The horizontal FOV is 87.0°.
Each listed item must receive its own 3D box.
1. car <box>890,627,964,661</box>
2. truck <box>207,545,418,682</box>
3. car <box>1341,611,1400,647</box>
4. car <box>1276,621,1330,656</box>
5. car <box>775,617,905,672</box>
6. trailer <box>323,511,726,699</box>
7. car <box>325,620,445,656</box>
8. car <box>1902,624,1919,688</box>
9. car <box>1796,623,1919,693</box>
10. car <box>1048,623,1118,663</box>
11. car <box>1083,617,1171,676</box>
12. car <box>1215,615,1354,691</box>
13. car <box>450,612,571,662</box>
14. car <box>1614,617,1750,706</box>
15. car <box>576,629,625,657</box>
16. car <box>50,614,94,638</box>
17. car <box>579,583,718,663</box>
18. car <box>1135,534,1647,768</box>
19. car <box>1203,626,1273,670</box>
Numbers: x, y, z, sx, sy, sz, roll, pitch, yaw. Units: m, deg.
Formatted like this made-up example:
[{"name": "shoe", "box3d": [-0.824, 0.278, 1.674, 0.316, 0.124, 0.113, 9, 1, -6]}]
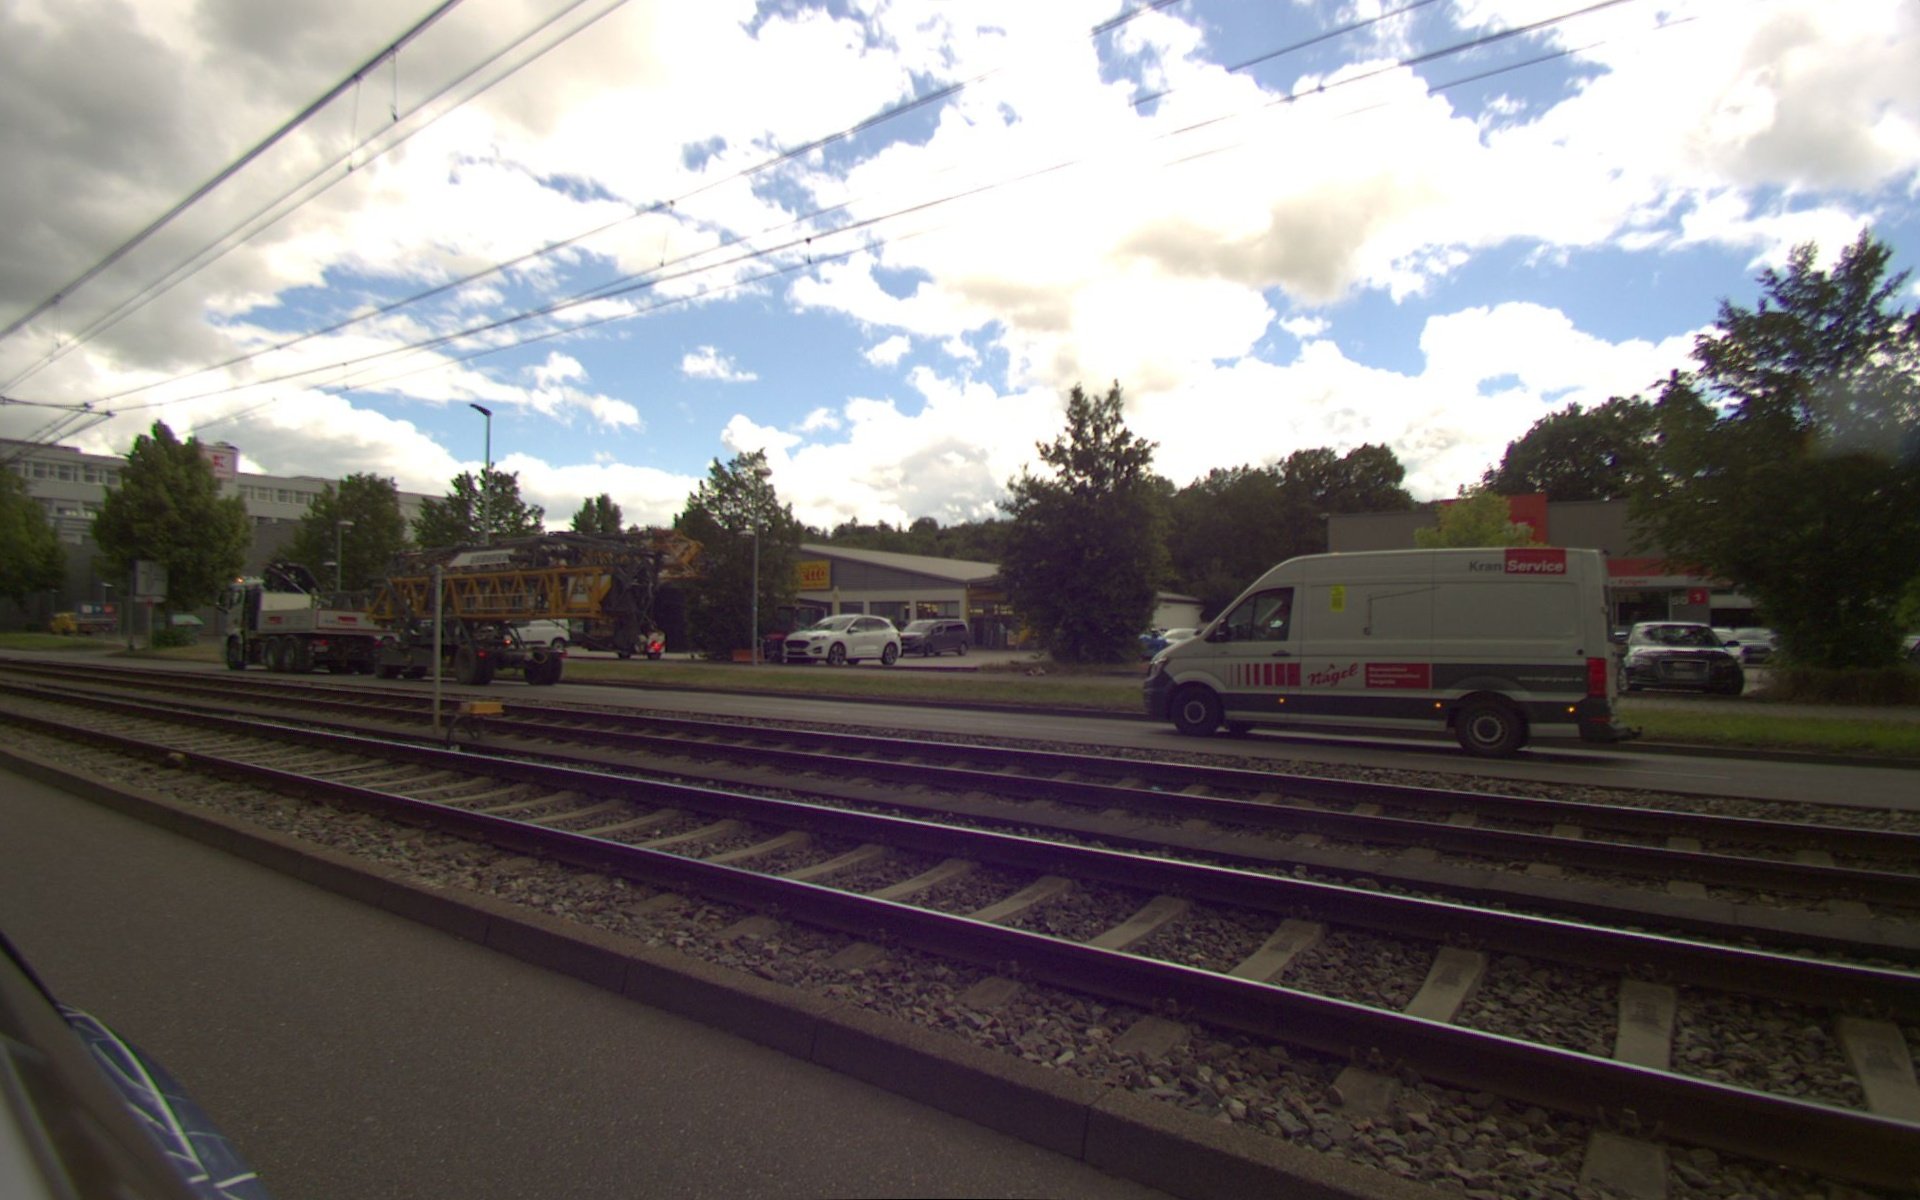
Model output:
[{"name": "car", "box3d": [-1.667, 2.231, 51.763, 1.773, 1.518, 3.953, -1, 0, 35]}, {"name": "truck", "box3d": [-21.377, 0.524, 33.194, 8.615, 3.997, 2.866, -1, -3, 37]}, {"name": "car", "box3d": [19.928, 1.375, 49.059, 1.916, 1.634, 3.698, -1, 0, 34]}, {"name": "car", "box3d": [17.442, 1.927, 51.359, 1.718, 1.634, 3.698, -1, 0, 33]}, {"name": "car", "box3d": [-3.790, 1.381, 32.753, 1.790, 1.518, 4.435, -1, 0, 33]}, {"name": "trailer", "box3d": [-12.018, 0.285, 26.482, 14.397, 3.927, 2.647, -1, -4, 36]}, {"name": "car", "box3d": [-27.375, 1.787, 48.295, 1.998, 1.504, 4.555, -1, 0, 39]}, {"name": "car", "box3d": [25.637, 1.441, 25.734, 1.821, 1.660, 3.697, -1, -3, 34]}, {"name": "car", "box3d": [23.004, 1.450, 26.078, 1.821, 1.660, 3.697, -1, -3, 34]}, {"name": "car", "box3d": [5.700, 1.935, 46.704, 1.718, 1.634, 3.698, -1, 0, 33]}, {"name": "car", "box3d": [6.379, 1.726, 38.488, 1.947, 2.029, 3.698, -1, 0, 34]}, {"name": "car", "box3d": [7.681, 1.168, 23.754, 1.998, 1.518, 3.952, -1, 0, 35]}, {"name": "car", "box3d": [-19.192, 1.524, 43.379, 1.998, 1.933, 4.303, -1, 0, 39]}, {"name": "car", "box3d": [13.913, 1.093, 19.583, 1.933, 1.432, 3.952, -1, 0, 35]}, {"name": "car", "box3d": [-22.448, 2.680, 63.263, 1.361, 1.634, 2.726, -1, 0, 27]}, {"name": "car", "box3d": [-76.448, 2.271, 87.100, 3.991, 2.029, 1.976, -1, -3, 35]}, {"name": "car", "box3d": [-11.465, 0.908, 37.536, 2.284, 2.770, 4.430, -1, -3, 36]}, {"name": "car", "box3d": [5.454, 0.647, 13.408, 5.986, 2.518, 1.852, -1, -4, 35]}, {"name": "car", "box3d": [11.565, 1.942, 41.957, 1.718, 1.634, 3.698, -1, 0, 33]}]
